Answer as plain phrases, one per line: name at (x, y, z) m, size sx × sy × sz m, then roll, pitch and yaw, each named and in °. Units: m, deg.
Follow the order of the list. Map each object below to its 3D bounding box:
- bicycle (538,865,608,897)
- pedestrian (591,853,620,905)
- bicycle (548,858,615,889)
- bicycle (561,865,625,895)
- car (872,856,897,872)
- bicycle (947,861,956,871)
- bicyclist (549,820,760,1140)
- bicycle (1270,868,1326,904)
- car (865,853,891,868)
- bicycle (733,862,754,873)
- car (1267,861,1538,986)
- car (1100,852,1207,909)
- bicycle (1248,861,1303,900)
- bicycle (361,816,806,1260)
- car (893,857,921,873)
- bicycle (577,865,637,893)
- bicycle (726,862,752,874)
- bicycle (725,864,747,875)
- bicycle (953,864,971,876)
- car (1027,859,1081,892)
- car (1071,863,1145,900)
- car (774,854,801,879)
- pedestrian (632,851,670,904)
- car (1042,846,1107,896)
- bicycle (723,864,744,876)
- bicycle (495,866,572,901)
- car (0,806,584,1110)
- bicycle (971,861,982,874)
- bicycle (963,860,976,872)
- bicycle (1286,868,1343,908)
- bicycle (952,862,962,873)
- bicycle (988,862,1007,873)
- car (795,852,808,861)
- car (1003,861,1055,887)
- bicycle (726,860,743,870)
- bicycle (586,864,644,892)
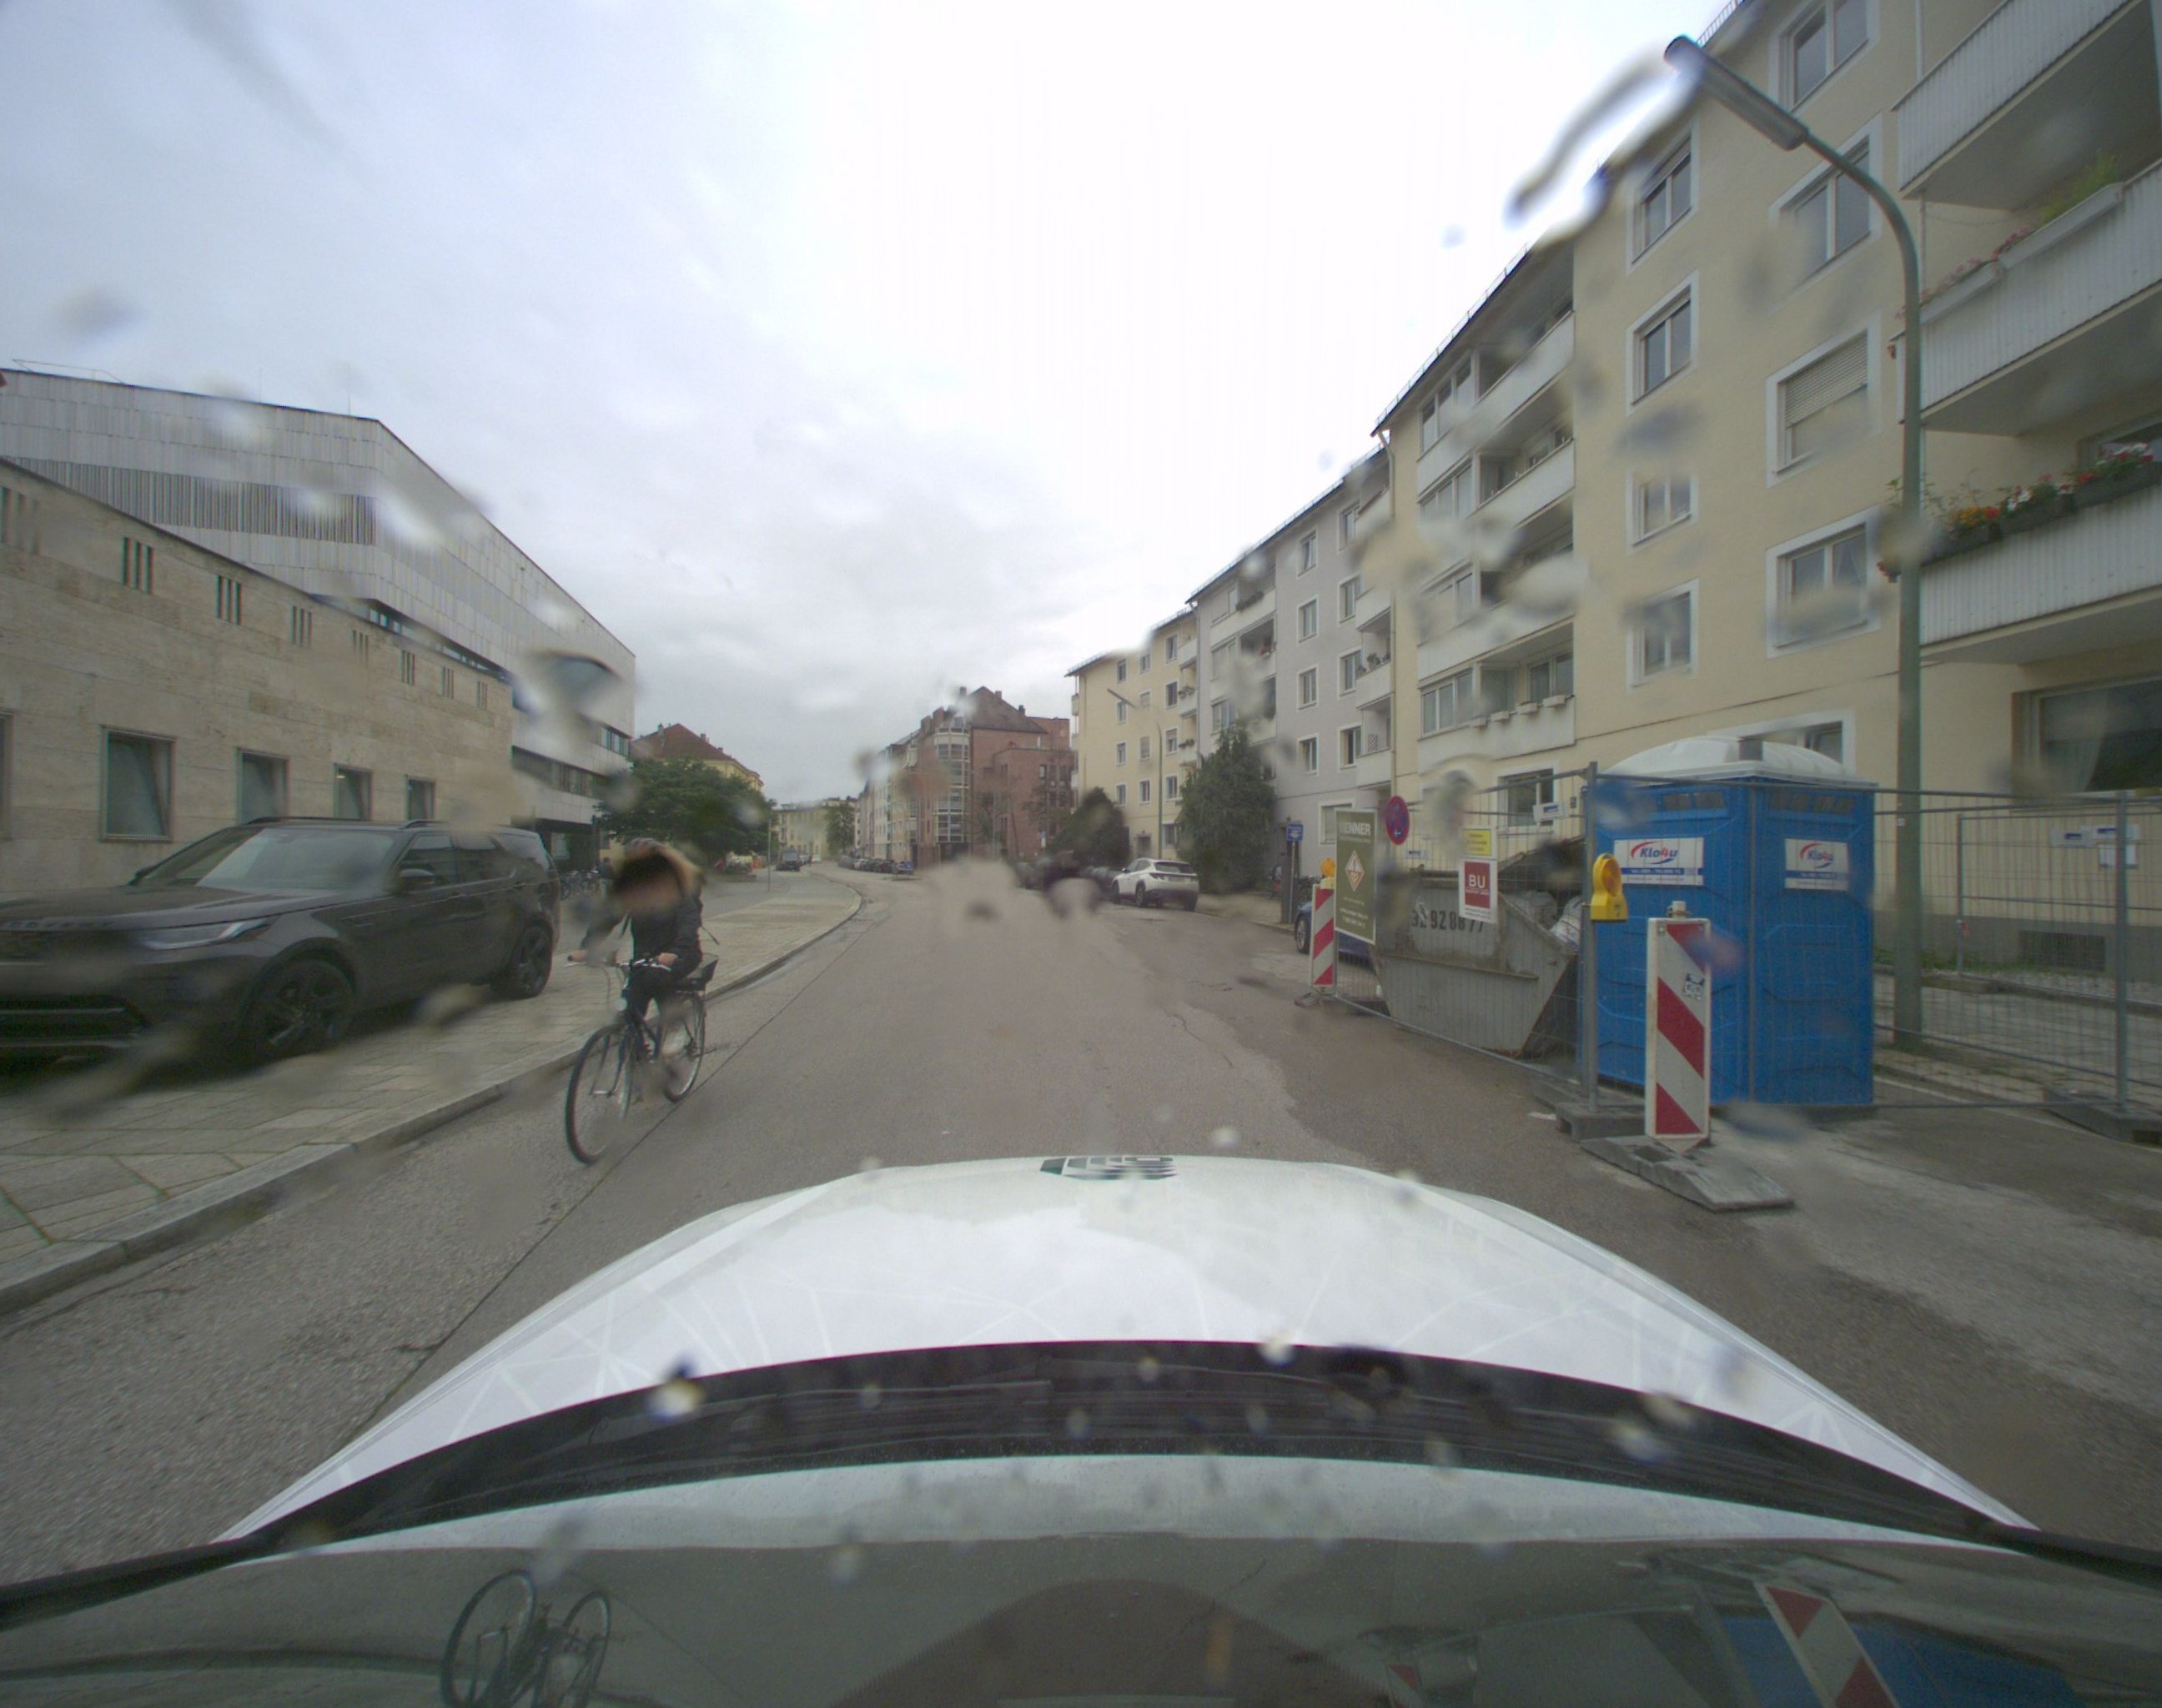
bicycle at (-18.274, 0.968, 29.341) m, size 2.054 × 1.111 × 0.612 m, roll 2°, pitch 0°, yaw -24°
pedestrian at (-15.044, 0.776, 25.770) m, size 0.648 × 1.601 × 0.599 m, roll 2°, pitch 0°, yaw -42°
bicycle at (-18.708, 0.749, 30.562) m, size 2.054 × 1.111 × 0.612 m, roll 2°, pitch 0°, yaw -24°
bicycle at (-19.298, 1.036, 32.260) m, size 2.052 × 1.111 × 0.613 m, roll 2°, pitch 0°, yaw -20°
car at (-21.774, 1.113, 90.187) m, size 1.839 × 1.602 × 4.230 m, roll 2°, pitch 0°, yaw -26°
bicycle at (-14.223, 1.332, 89.415) m, size 0.488 × 1.060 × 1.979 m, roll 2°, pitch -2°, yaw -25°
bicyclist at (-2.509, 0.671, 4.929) m, size 0.746 × 1.717 × 1.030 m, roll -1°, pitch 1°, yaw -4°
bicycle at (7.302, 1.069, 27.466) m, size 0.581 × 1.158 × 1.811 m, roll -2°, pitch 0°, yaw -38°
car at (-23.550, 0.731, 94.589) m, size 1.974 × 1.602 × 4.632 m, roll 2°, pitch 0°, yaw -26°
bicycle at (-35.382, 1.423, 85.476) m, size 1.906 × 1.092 × 0.675 m, roll 2°, pitch 0°, yaw -13°
car at (4.505, 0.880, 12.327) m, size 1.829 × 1.442 × 4.617 m, roll 2°, pitch 0°, yaw -7°
car at (2.295, 0.808, 27.301) m, size 2.030 × 1.678 × 4.587 m, roll 2°, pitch 0°, yaw -16°
bicycle at (7.270, 0.955, 30.601) m, size 0.745 × 1.367 × 2.455 m, roll -3°, pitch 1°, yaw -19°
bicycle at (-2.486, 0.696, 4.783) m, size 0.793 × 1.722 × 3.111 m, roll -2°, pitch 1°, yaw -4°
car at (-17.269, 1.074, 80.549) m, size 1.933 × 1.512 × 4.359 m, roll 2°, pitch -1°, yaw -22°
bicycle at (-19.649, 1.049, 33.813) m, size 2.052 × 1.111 × 0.613 m, roll 2°, pitch 0°, yaw -20°
bicycle at (-34.148, 1.427, 81.361) m, size 2.312 × 1.135 × 0.579 m, roll 2°, pitch 0°, yaw -13°
bicycle at (-33.928, 1.523, 80.028) m, size 1.868 × 1.029 × 0.537 m, roll 2°, pitch 0°, yaw -13°
bicycle at (-12.843, 1.731, 88.068) m, size 1.852 × 1.147 × 0.485 m, roll 2°, pitch 0°, yaw -17°
car at (-1.437, 1.056, 41.227) m, size 1.662 × 1.566 × 4.490 m, roll 2°, pitch -1°, yaw -16°
car at (1.009, 1.057, 32.257) m, size 1.663 × 1.349 × 3.779 m, roll 2°, pitch -2°, yaw -19°
car at (-34.345, 1.484, 95.209) m, size 2.433 × 2.715 × 5.905 m, roll -1°, pitch -1°, yaw -24°
pedestrian at (-14.390, 0.778, 27.273) m, size 0.793 × 1.739 × 0.819 m, roll 2°, pitch 0°, yaw -6°
car at (-0.380, 0.717, 36.747) m, size 1.751 × 2.081 × 4.491 m, roll 2°, pitch 0°, yaw -16°
bicycle at (-33.651, 1.551, 78.866) m, size 1.792 × 1.033 × 0.505 m, roll 2°, pitch 0°, yaw -13°
bicycle at (-18.577, 1.009, 27.651) m, size 2.048 × 1.111 × 0.614 m, roll 2°, pitch 0°, yaw -13°
car at (-6.558, 0.593, 7.128) m, size 1.992 × 1.772 × 4.801 m, roll 0°, pitch 0°, yaw -8°
bicycle at (-10.388, 1.339, 81.007) m, size 0.416 × 1.173 × 1.368 m, roll 2°, pitch 0°, yaw 22°
bicycle at (-11.215, 1.225, 81.785) m, size 0.537 × 1.248 × 2.391 m, roll 2°, pitch -2°, yaw -28°
bicycle at (7.500, 1.065, 26.124) m, size 1.836 × 1.158 × 0.573 m, roll -2°, pitch 0°, yaw -26°
bicycle at (-13.663, 1.479, 89.597) m, size 0.488 × 1.060 × 1.979 m, roll 2°, pitch -1°, yaw -25°
bicycle at (-7.701, 1.248, 75.145) m, size 1.707 × 0.965 × 0.542 m, roll 2°, pitch 0°, yaw -22°
car at (-50.490, 0.448, 147.146) m, size 2.033 × 1.621 × 4.473 m, roll 2°, pitch 0°, yaw -21°
car at (-3.014, 1.135, 46.191) m, size 1.761 × 1.396 × 4.014 m, roll 2°, pitch -2°, yaw -22°
bicycle at (-31.549, 0.983, 74.145) m, size 1.375 × 0.862 × 0.437 m, roll 2°, pitch 0°, yaw -17°
bicycle at (-20.018, 1.036, 35.034) m, size 2.052 × 1.111 × 0.613 m, roll 2°, pitch 0°, yaw -20°
